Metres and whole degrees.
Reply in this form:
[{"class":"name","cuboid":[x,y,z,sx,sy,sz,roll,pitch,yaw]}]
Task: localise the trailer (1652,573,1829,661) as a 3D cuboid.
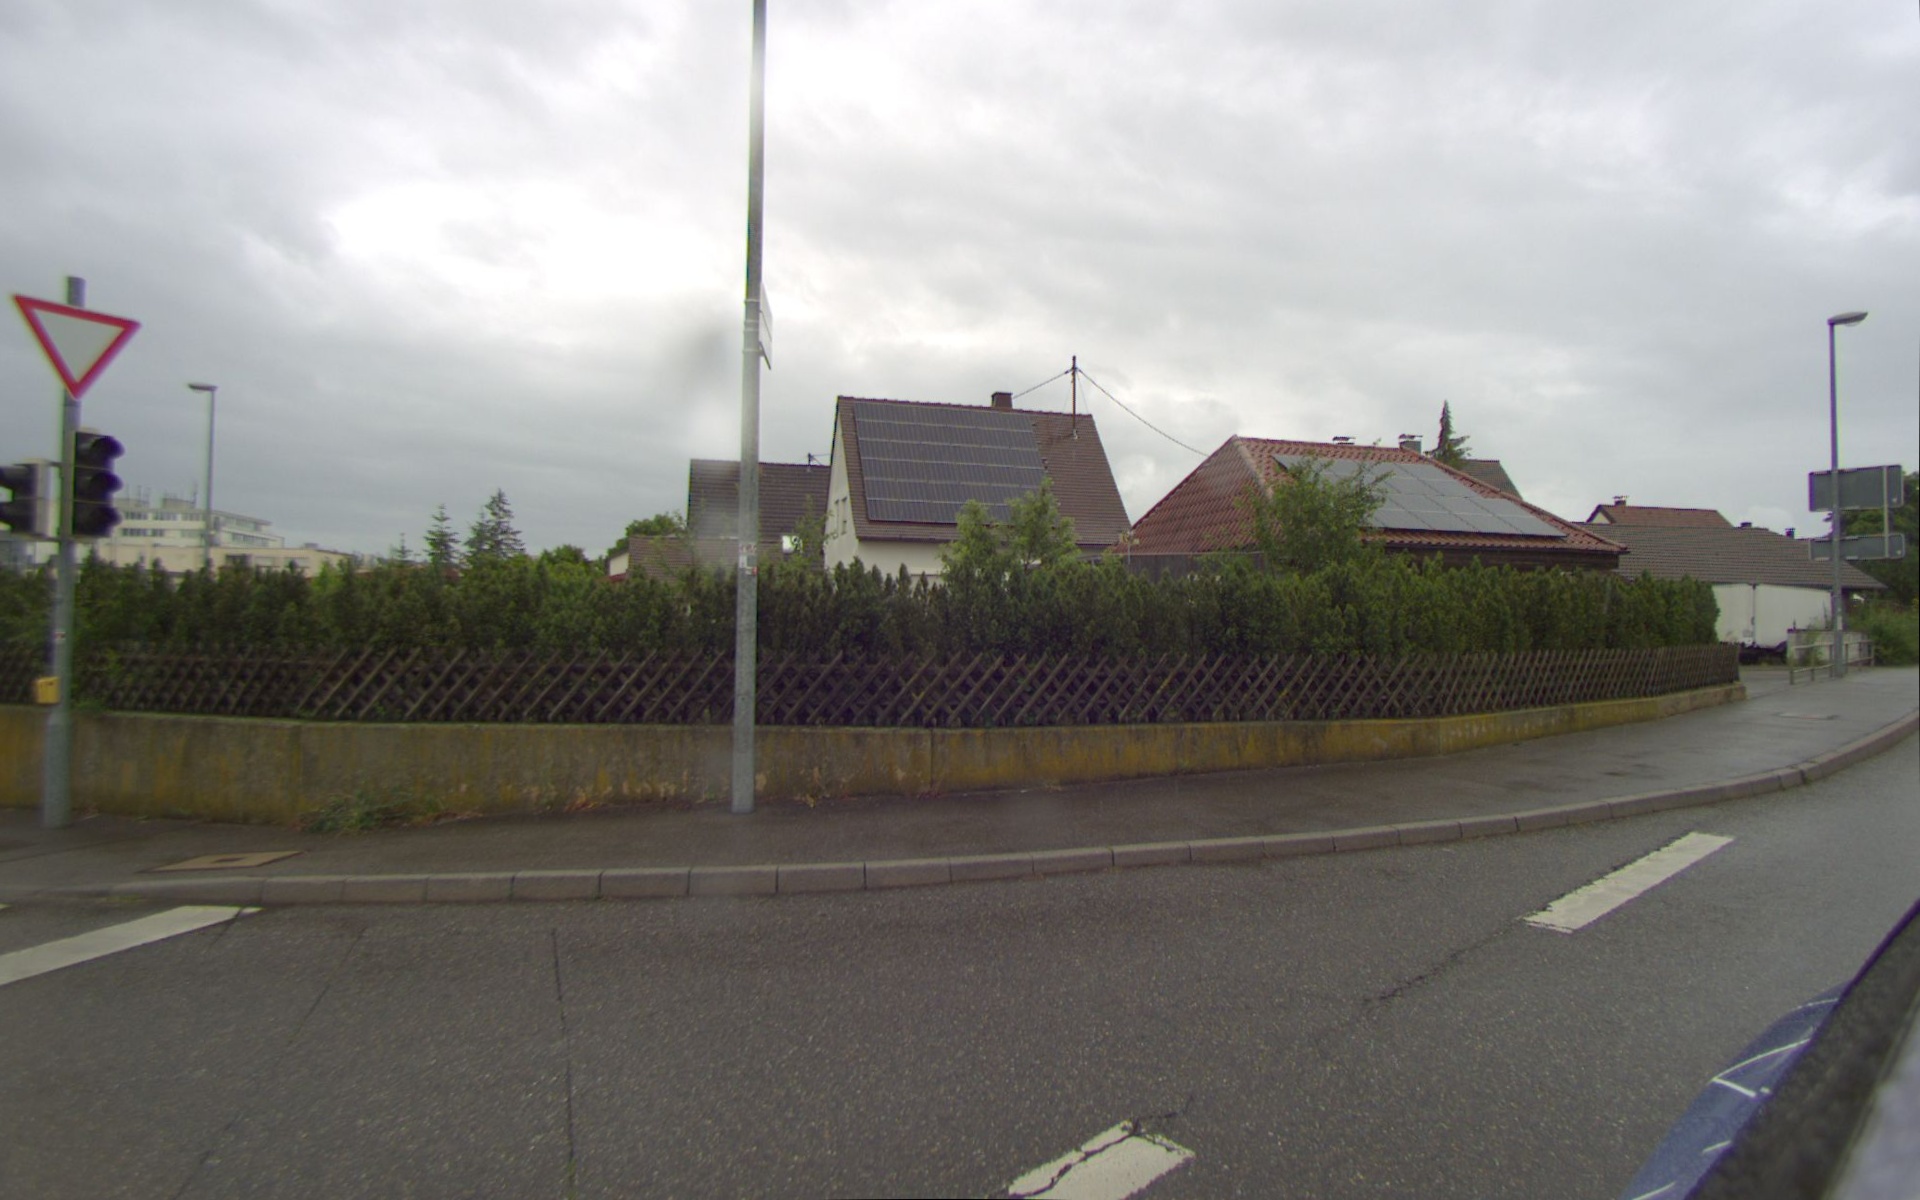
[{"class":"trailer","cuboid":[23.660,0.513,30.717,4.605,2.550,1.652,0,-2,-13]}]
